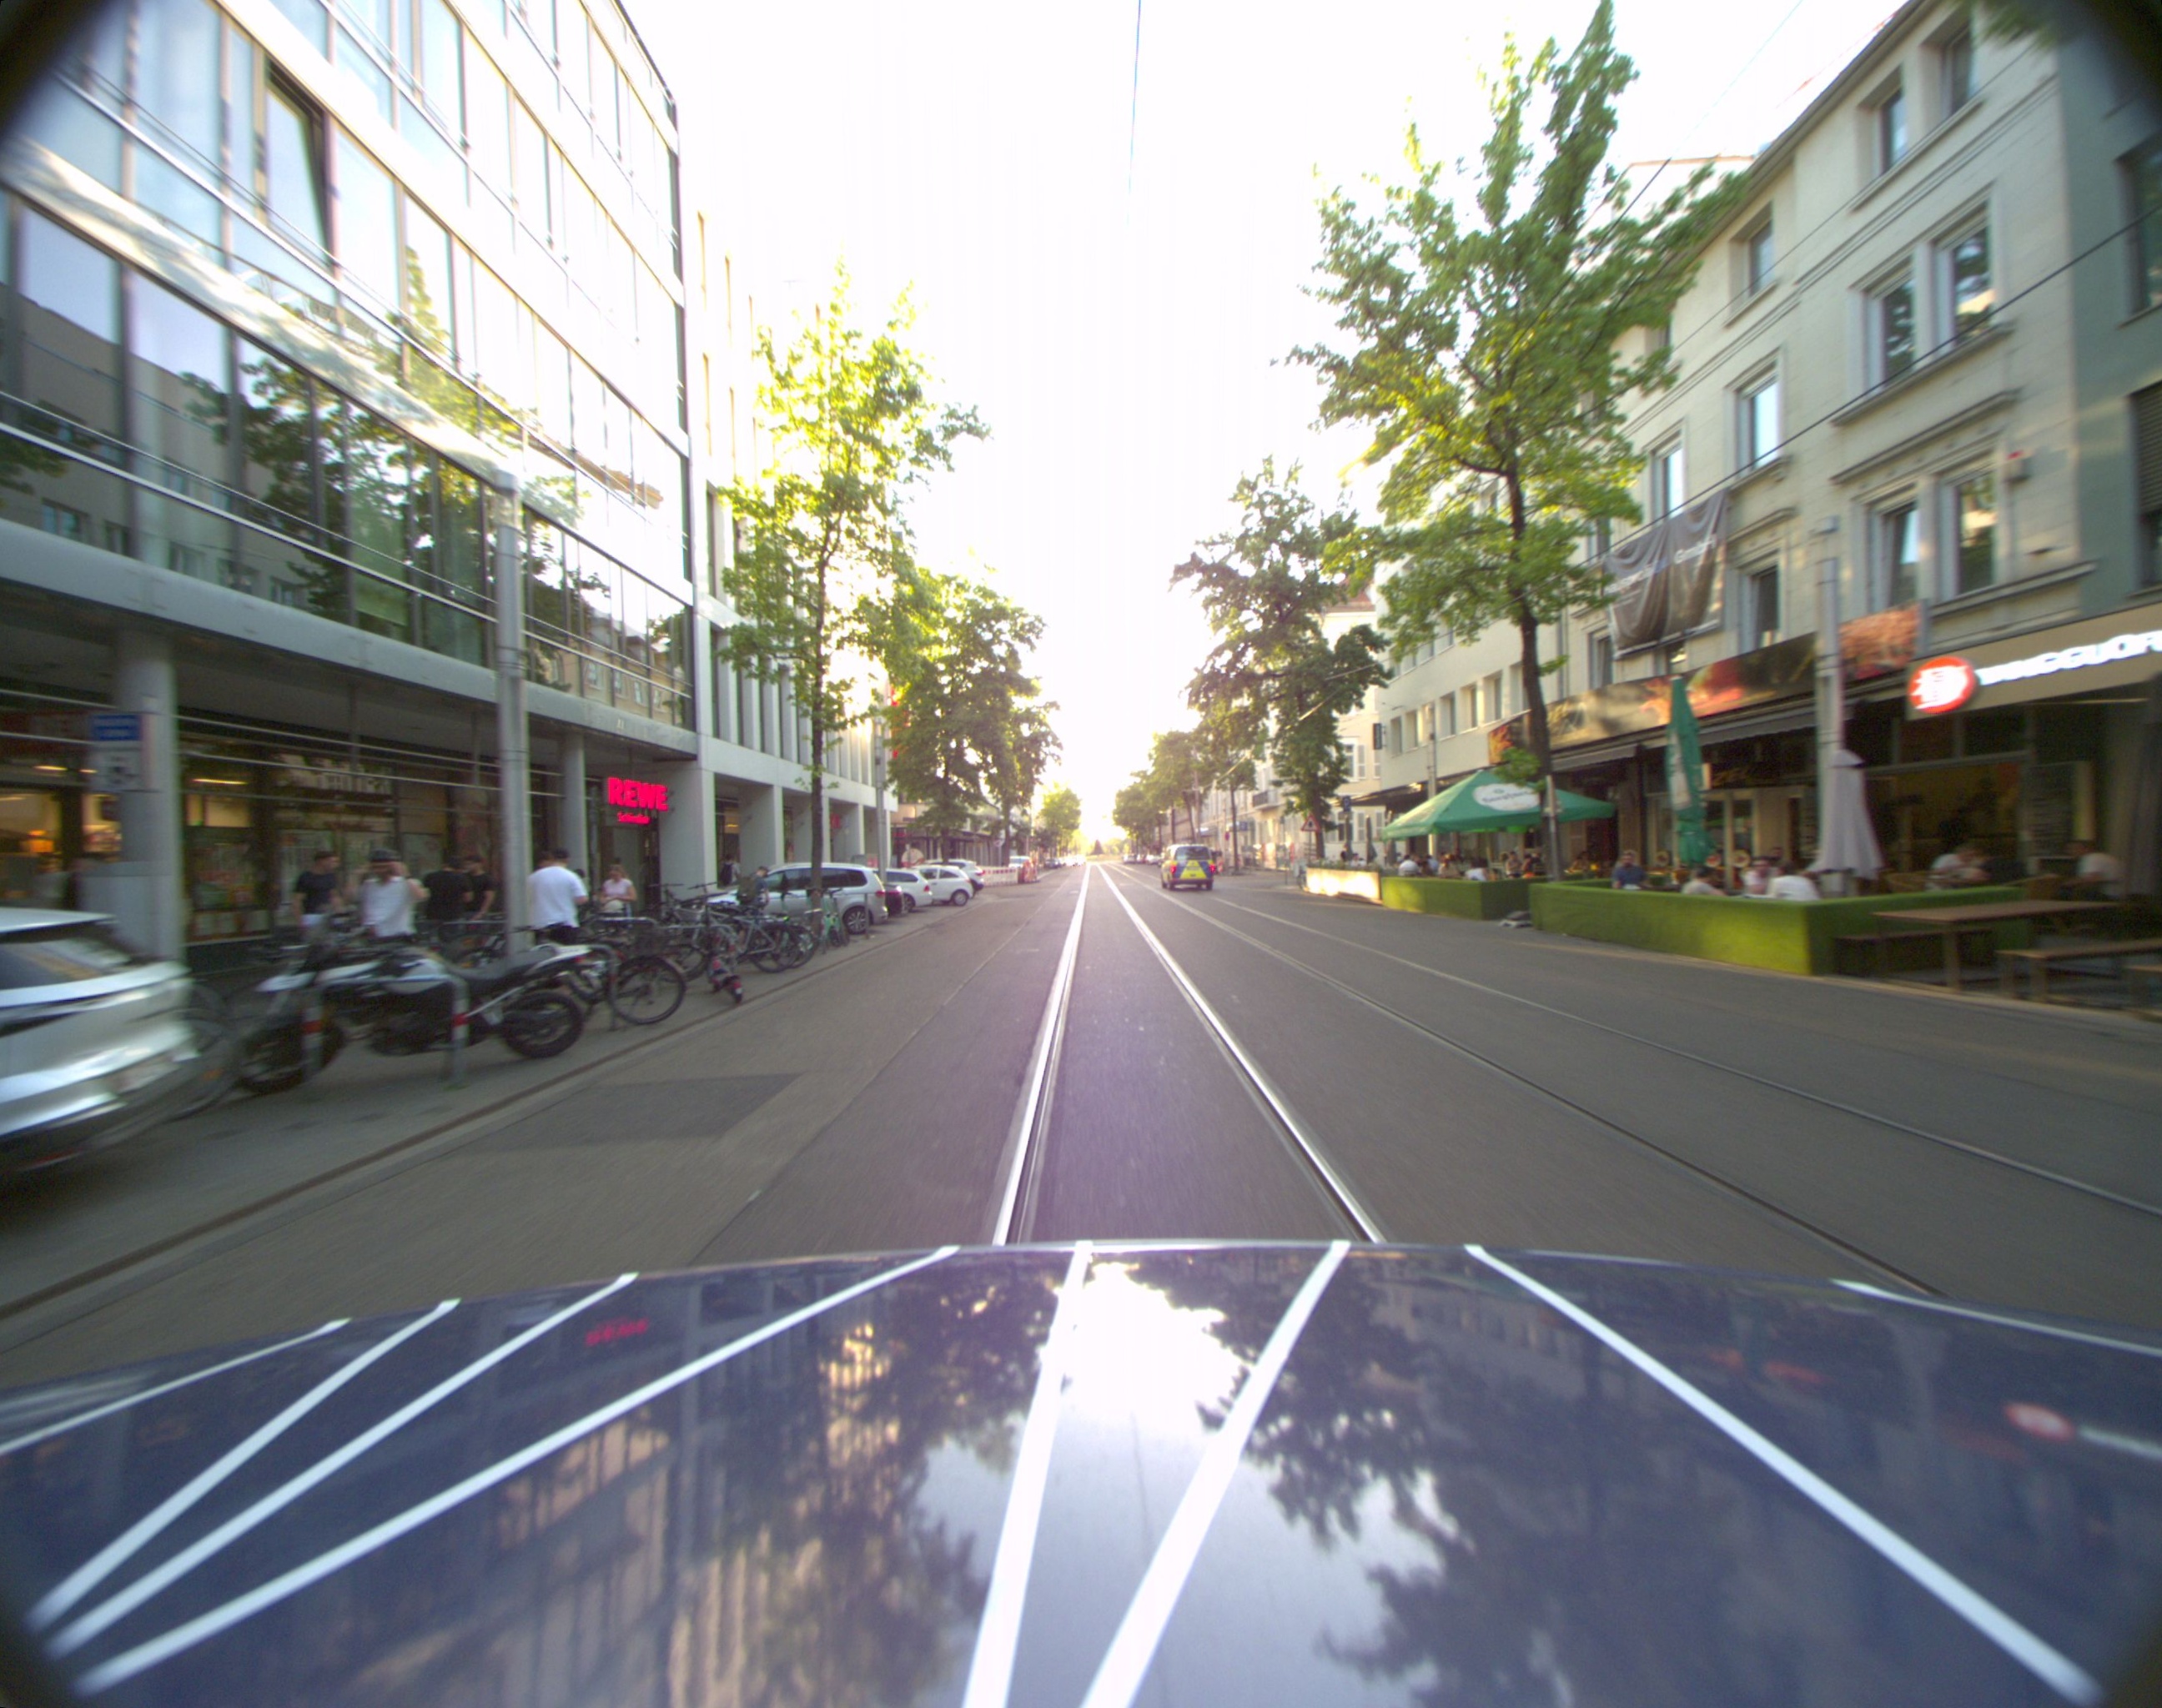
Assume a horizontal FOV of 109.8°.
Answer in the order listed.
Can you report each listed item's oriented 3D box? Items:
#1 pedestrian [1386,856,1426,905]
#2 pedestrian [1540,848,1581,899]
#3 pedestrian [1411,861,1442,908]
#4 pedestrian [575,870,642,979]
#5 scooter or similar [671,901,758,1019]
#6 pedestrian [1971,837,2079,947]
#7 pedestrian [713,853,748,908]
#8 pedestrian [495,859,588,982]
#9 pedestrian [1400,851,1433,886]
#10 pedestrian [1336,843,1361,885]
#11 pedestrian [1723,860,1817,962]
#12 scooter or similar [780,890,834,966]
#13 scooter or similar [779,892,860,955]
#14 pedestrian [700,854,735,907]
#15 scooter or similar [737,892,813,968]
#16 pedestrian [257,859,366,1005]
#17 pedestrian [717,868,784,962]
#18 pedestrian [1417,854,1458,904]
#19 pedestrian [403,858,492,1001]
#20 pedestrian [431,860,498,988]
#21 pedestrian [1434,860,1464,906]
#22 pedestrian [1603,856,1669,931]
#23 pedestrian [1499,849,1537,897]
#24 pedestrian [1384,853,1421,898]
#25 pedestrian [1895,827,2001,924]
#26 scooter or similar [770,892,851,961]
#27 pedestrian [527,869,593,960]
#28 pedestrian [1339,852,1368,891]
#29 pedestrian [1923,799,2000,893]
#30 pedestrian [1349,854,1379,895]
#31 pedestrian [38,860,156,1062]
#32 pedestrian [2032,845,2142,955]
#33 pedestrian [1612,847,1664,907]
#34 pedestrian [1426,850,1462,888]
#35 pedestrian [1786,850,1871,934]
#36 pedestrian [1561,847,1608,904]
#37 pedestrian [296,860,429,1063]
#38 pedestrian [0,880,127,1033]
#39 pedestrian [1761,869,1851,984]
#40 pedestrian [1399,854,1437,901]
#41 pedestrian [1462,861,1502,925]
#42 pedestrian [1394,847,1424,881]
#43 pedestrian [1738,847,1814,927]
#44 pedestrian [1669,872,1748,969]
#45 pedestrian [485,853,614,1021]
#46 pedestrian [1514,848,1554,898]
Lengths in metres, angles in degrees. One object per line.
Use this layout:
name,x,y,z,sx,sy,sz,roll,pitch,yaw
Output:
pedestrian,9.351,0.744,21.888,0.717,1.354,1.012,-2,1,3
pedestrian,13.613,0.542,21.576,0.656,1.370,0.765,-2,1,1
pedestrian,9.389,0.815,20.678,0.587,1.228,0.544,-2,1,3
pedestrian,-7.325,1.058,11.788,0.704,1.615,0.661,0,0,36
scooter or similar,-4.636,1.275,9.578,0.698,1.296,1.389,-1,0,-38
pedestrian,12.395,0.479,9.991,0.606,1.370,0.648,-2,1,1
pedestrian,-11.108,0.849,24.122,0.681,1.689,0.806,-2,-1,0
pedestrian,-8.346,0.975,11.765,0.885,1.802,0.939,0,0,36
pedestrian,13.046,0.547,29.559,0.887,1.312,0.882,-2,1,4
pedestrian,11.183,0.416,31.733,0.783,1.731,0.640,-4,2,-41
pedestrian,9.584,0.770,10.592,0.645,1.338,0.731,-2,1,2
scooter or similar,-4.862,1.292,13.551,0.483,1.215,1.214,1,1,2
scooter or similar,-5.227,1.359,15.223,0.578,1.143,1.404,-1,0,44
pedestrian,-11.848,0.863,24.789,0.681,1.689,0.806,-2,-1,0
scooter or similar,-5.314,1.297,13.271,0.569,1.198,1.283,0,0,15
pedestrian,-9.852,0.962,9.746,0.659,1.802,0.717,0,0,5
pedestrian,-5.964,1.073,13.728,0.790,1.616,0.770,0,0,20
pedestrian,10.250,0.709,21.873,0.717,1.354,1.012,-2,1,3
pedestrian,-8.377,0.961,10.062,0.658,1.802,0.718,0,0,31
pedestrian,-8.846,0.967,10.926,0.718,1.743,0.730,0,0,-37
pedestrian,10.003,0.789,20.647,0.544,1.211,0.511,-2,1,3
pedestrian,9.811,0.682,13.449,0.710,1.257,0.600,-2,1,1
pedestrian,12.938,0.541,22.528,0.656,1.370,0.765,-2,1,1
pedestrian,10.176,0.676,24.075,0.717,1.354,1.012,-2,1,3
pedestrian,12.891,0.301,11.318,0.692,1.370,0.765,-2,1,1
scooter or similar,-5.119,1.343,14.392,1.335,1.175,0.497,-1,0,-36
pedestrian,-9.333,1.068,13.626,0.761,1.563,0.632,-1,1,23
pedestrian,9.852,0.635,27.510,0.717,1.354,0.924,-2,1,3
pedestrian,17.011,-0.153,14.690,0.657,1.755,0.764,-3,2,-17
pedestrian,9.761,0.681,26.222,0.717,1.354,0.871,-2,1,3
pedestrian,-9.432,0.959,7.284,0.790,1.802,0.661,0,0,36
pedestrian,13.086,0.575,9.900,0.538,1.370,0.679,-2,1,1
pedestrian,13.221,0.534,18.053,0.656,1.370,0.765,-2,1,1
pedestrian,13.210,0.548,27.669,0.887,1.312,0.882,-2,1,4
pedestrian,12.484,0.618,12.704,0.656,1.323,0.765,-2,1,1
pedestrian,12.702,0.532,19.194,0.656,1.370,0.765,-2,1,1
pedestrian,-6.799,0.967,7.239,0.820,1.801,0.599,2,-1,-37
pedestrian,-11.140,1.081,8.222,0.681,1.539,0.664,-2,1,0
pedestrian,9.092,0.889,9.546,0.581,1.370,0.564,-2,1,1
pedestrian,10.163,0.695,22.932,0.717,1.354,0.924,-2,1,3
pedestrian,8.870,0.856,16.828,0.548,1.370,0.564,-2,1,1
pedestrian,13.179,0.400,30.586,0.849,1.312,0.882,-2,1,5
pedestrian,12.494,0.574,13.682,0.656,1.370,0.765,-2,1,1
pedestrian,8.719,0.907,10.571,0.552,1.259,0.641,-2,1,2
pedestrian,-6.358,0.959,9.152,0.952,1.902,0.862,1,-1,-11
pedestrian,12.934,0.533,21.718,0.656,1.370,0.765,-2,1,1
